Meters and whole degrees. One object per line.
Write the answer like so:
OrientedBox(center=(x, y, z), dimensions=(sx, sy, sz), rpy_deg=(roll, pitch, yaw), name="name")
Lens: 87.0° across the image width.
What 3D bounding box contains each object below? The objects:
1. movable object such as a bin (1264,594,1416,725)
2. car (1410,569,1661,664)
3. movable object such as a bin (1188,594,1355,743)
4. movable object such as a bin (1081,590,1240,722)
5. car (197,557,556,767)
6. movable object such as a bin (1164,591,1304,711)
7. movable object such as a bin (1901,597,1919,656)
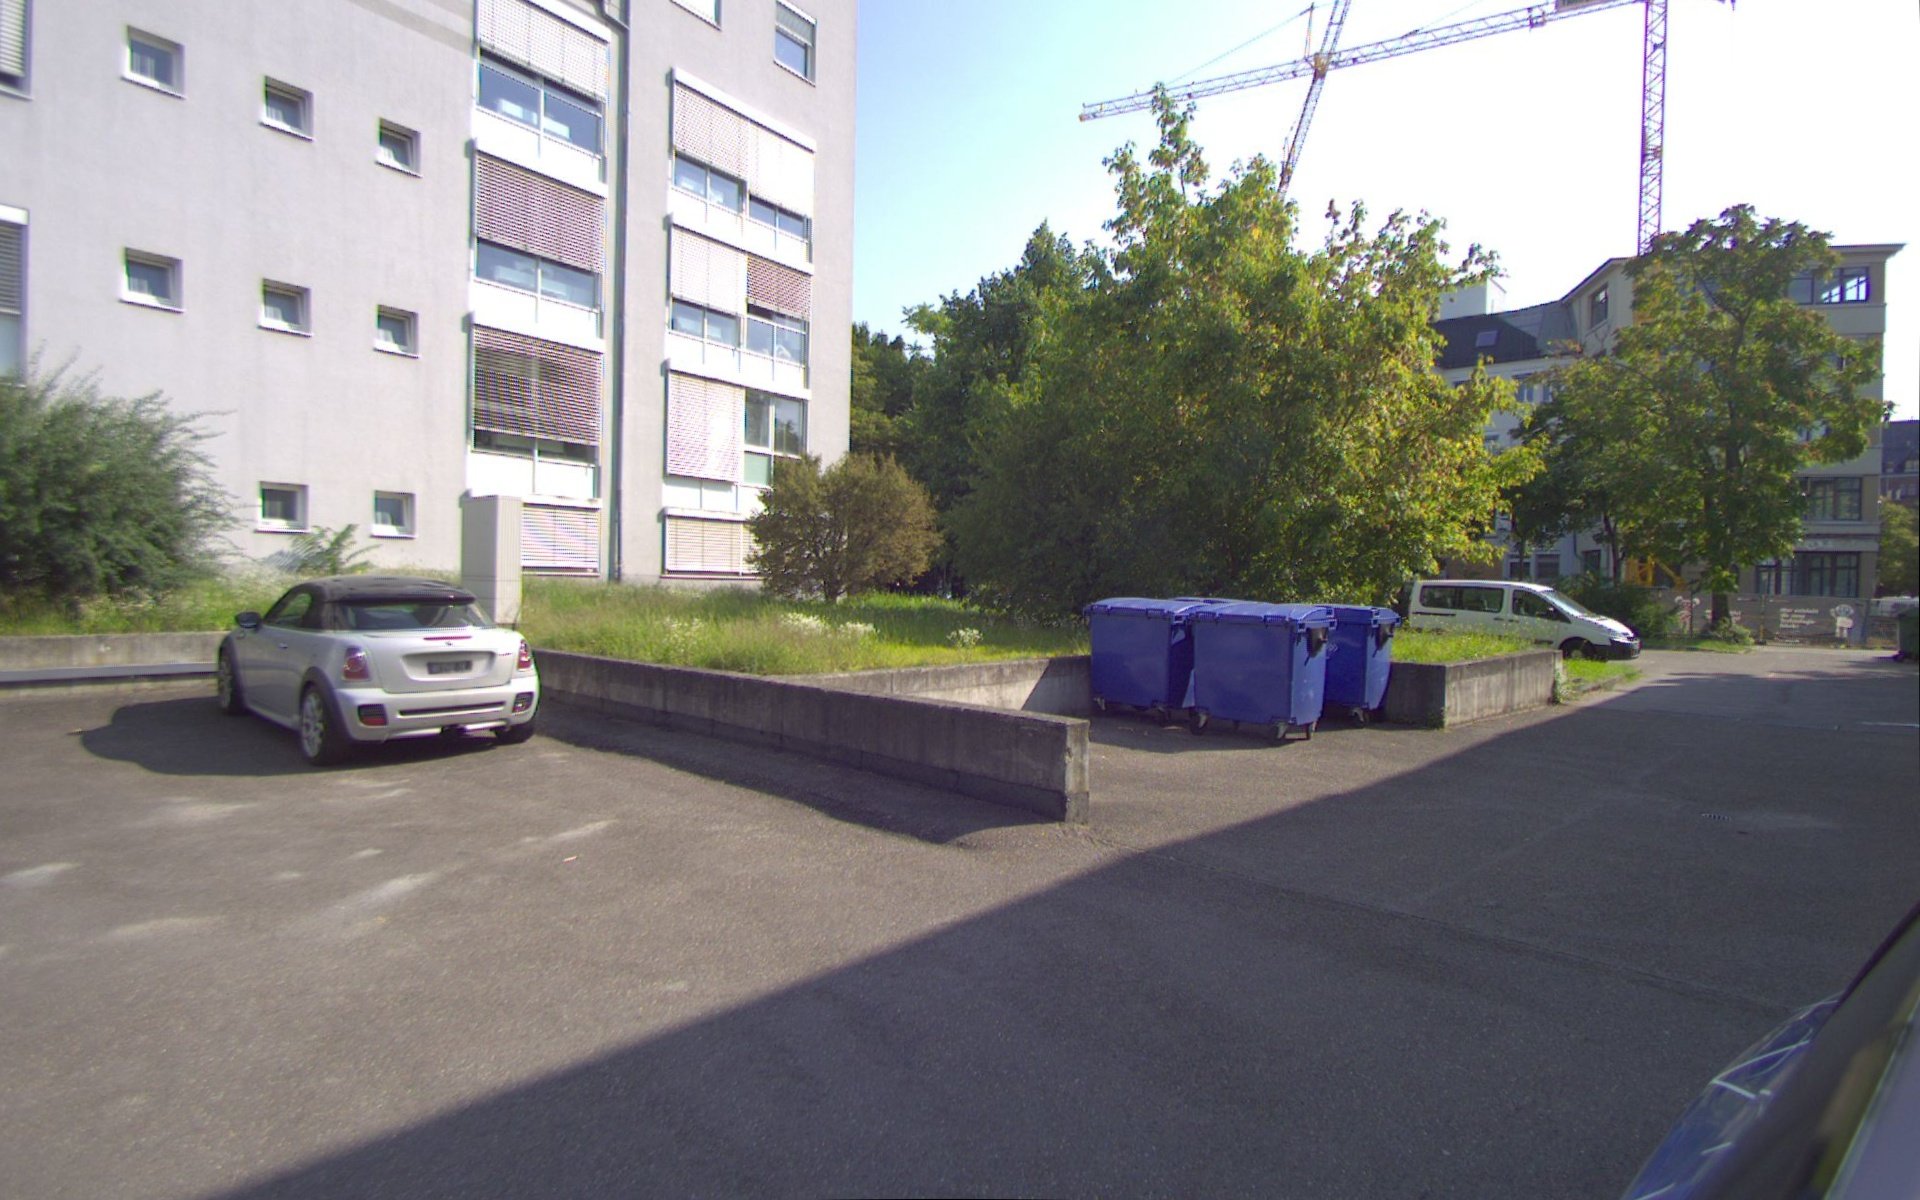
OrientedBox(center=(4.295, 0.622, 11.430), dimensions=(1.197, 1.344, 1.255), rpy_deg=(2, 1, 44), name="movable object such as a bin")
OrientedBox(center=(13.402, 0.306, 23.810), dimensions=(1.878, 1.955, 4.782), rpy_deg=(1, 1, -45), name="car")
OrientedBox(center=(3.192, 0.642, 10.358), dimensions=(1.209, 1.368, 1.256), rpy_deg=(2, 1, 41), name="movable object such as a bin")
OrientedBox(center=(2.240, 0.573, 11.306), dimensions=(1.254, 1.344, 1.255), rpy_deg=(2, 1, 44), name="movable object such as a bin")
OrientedBox(center=(-5.257, 0.396, 8.953), dimensions=(3.566, 1.455, 1.635), rpy_deg=(3, 1, 40), name="car")
OrientedBox(center=(3.364, 0.583, 12.427), dimensions=(1.197, 1.344, 1.255), rpy_deg=(2, 1, 44), name="movable object such as a bin")
OrientedBox(center=(24.899, 0.684, 25.637), dimensions=(1.521, 1.484, 1.255), rpy_deg=(2, 1, 44), name="movable object such as a bin")
